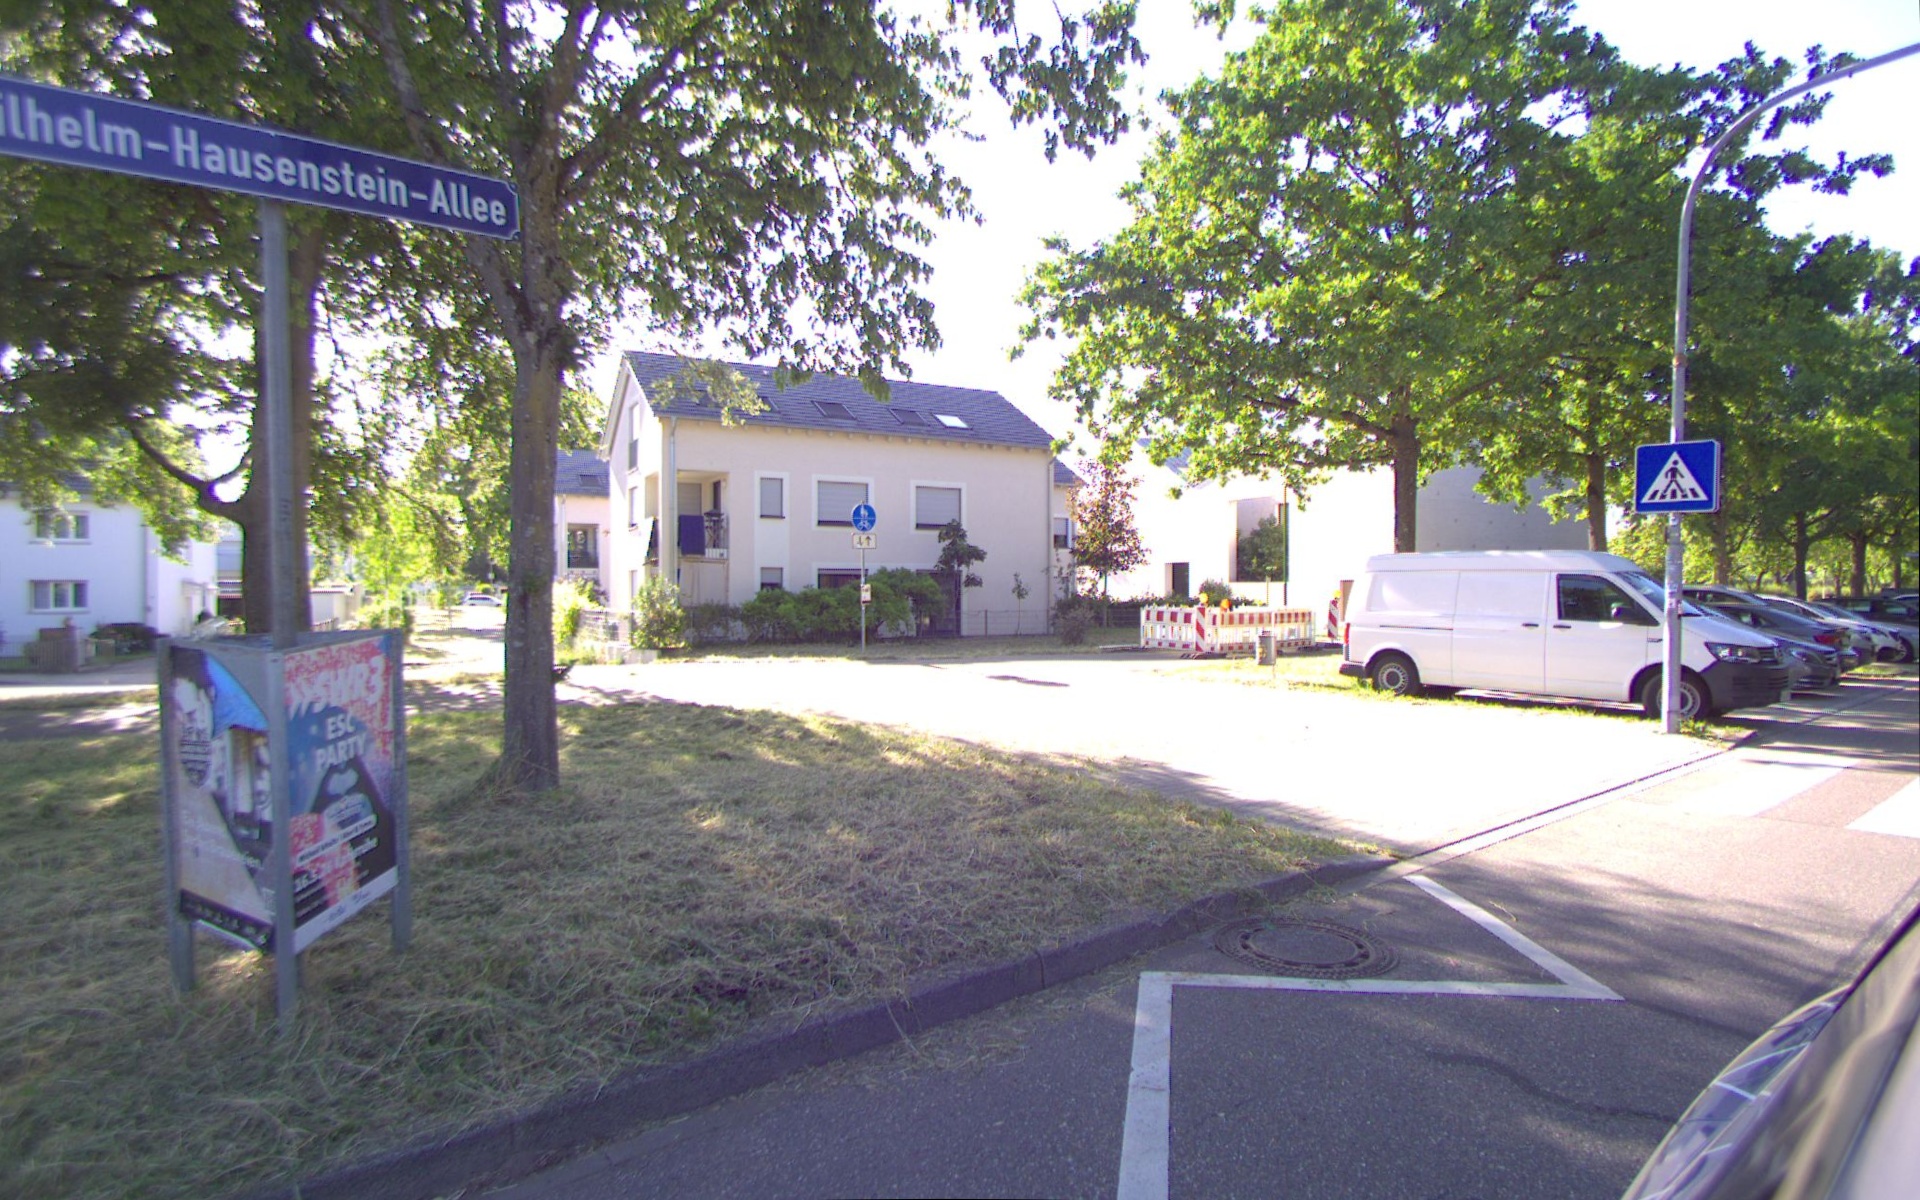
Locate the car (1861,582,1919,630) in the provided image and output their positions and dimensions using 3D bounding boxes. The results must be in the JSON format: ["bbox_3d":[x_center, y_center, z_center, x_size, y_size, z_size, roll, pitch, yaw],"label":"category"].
[{"bbox_3d":[35.931,0.207,36.892,1.504,1.765,4.396,0,0,-37],"label":"car"}]

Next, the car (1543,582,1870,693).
[{"bbox_3d":[12.096,0.538,16.626,1.725,1.583,3.997,0,0,-37],"label":"car"}]

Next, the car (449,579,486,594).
[{"bbox_3d":[-68.365,-1.928,140.540,4.524,2.039,2.003,0,0,-24],"label":"car"}]

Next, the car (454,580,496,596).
[{"bbox_3d":[-62.381,-1.559,130.276,4.543,2.039,1.995,0,0,-43],"label":"car"}]

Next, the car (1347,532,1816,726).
[{"bbox_3d":[8.009,0.270,13.563,1.857,2.107,5.045,0,1,-39],"label":"car"}]

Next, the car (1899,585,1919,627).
[{"bbox_3d":[41.435,0.247,41.257,1.504,1.765,4.396,0,0,-37],"label":"car"}]

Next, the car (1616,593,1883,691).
[{"bbox_3d":[13.995,0.678,18.096,1.421,1.561,3.517,0,0,-37],"label":"car"}]

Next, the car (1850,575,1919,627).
[{"bbox_3d":[37.906,0.044,39.625,1.504,2.013,4.396,0,0,-37],"label":"car"}]

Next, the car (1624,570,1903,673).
[{"bbox_3d":[15.700,0.387,19.978,1.681,1.816,4.020,0,0,-37],"label":"car"}]

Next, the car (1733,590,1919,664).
[{"bbox_3d":[21.514,0.618,24.639,1.504,1.681,4.020,0,0,-37],"label":"car"}]

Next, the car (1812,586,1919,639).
[{"bbox_3d":[30.421,0.404,32.546,1.504,1.662,4.396,0,0,-37],"label":"car"}]

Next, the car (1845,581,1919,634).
[{"bbox_3d":[32.942,0.242,34.160,1.504,1.765,4.396,0,0,-37],"label":"car"}]

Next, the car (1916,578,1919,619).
[{"bbox_3d":[43.381,-0.092,42.590,1.504,1.765,4.396,0,0,-37],"label":"car"}]

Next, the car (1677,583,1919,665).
[{"bbox_3d":[18.990,0.497,23.087,1.504,1.700,4.020,0,0,-37],"label":"car"}]
